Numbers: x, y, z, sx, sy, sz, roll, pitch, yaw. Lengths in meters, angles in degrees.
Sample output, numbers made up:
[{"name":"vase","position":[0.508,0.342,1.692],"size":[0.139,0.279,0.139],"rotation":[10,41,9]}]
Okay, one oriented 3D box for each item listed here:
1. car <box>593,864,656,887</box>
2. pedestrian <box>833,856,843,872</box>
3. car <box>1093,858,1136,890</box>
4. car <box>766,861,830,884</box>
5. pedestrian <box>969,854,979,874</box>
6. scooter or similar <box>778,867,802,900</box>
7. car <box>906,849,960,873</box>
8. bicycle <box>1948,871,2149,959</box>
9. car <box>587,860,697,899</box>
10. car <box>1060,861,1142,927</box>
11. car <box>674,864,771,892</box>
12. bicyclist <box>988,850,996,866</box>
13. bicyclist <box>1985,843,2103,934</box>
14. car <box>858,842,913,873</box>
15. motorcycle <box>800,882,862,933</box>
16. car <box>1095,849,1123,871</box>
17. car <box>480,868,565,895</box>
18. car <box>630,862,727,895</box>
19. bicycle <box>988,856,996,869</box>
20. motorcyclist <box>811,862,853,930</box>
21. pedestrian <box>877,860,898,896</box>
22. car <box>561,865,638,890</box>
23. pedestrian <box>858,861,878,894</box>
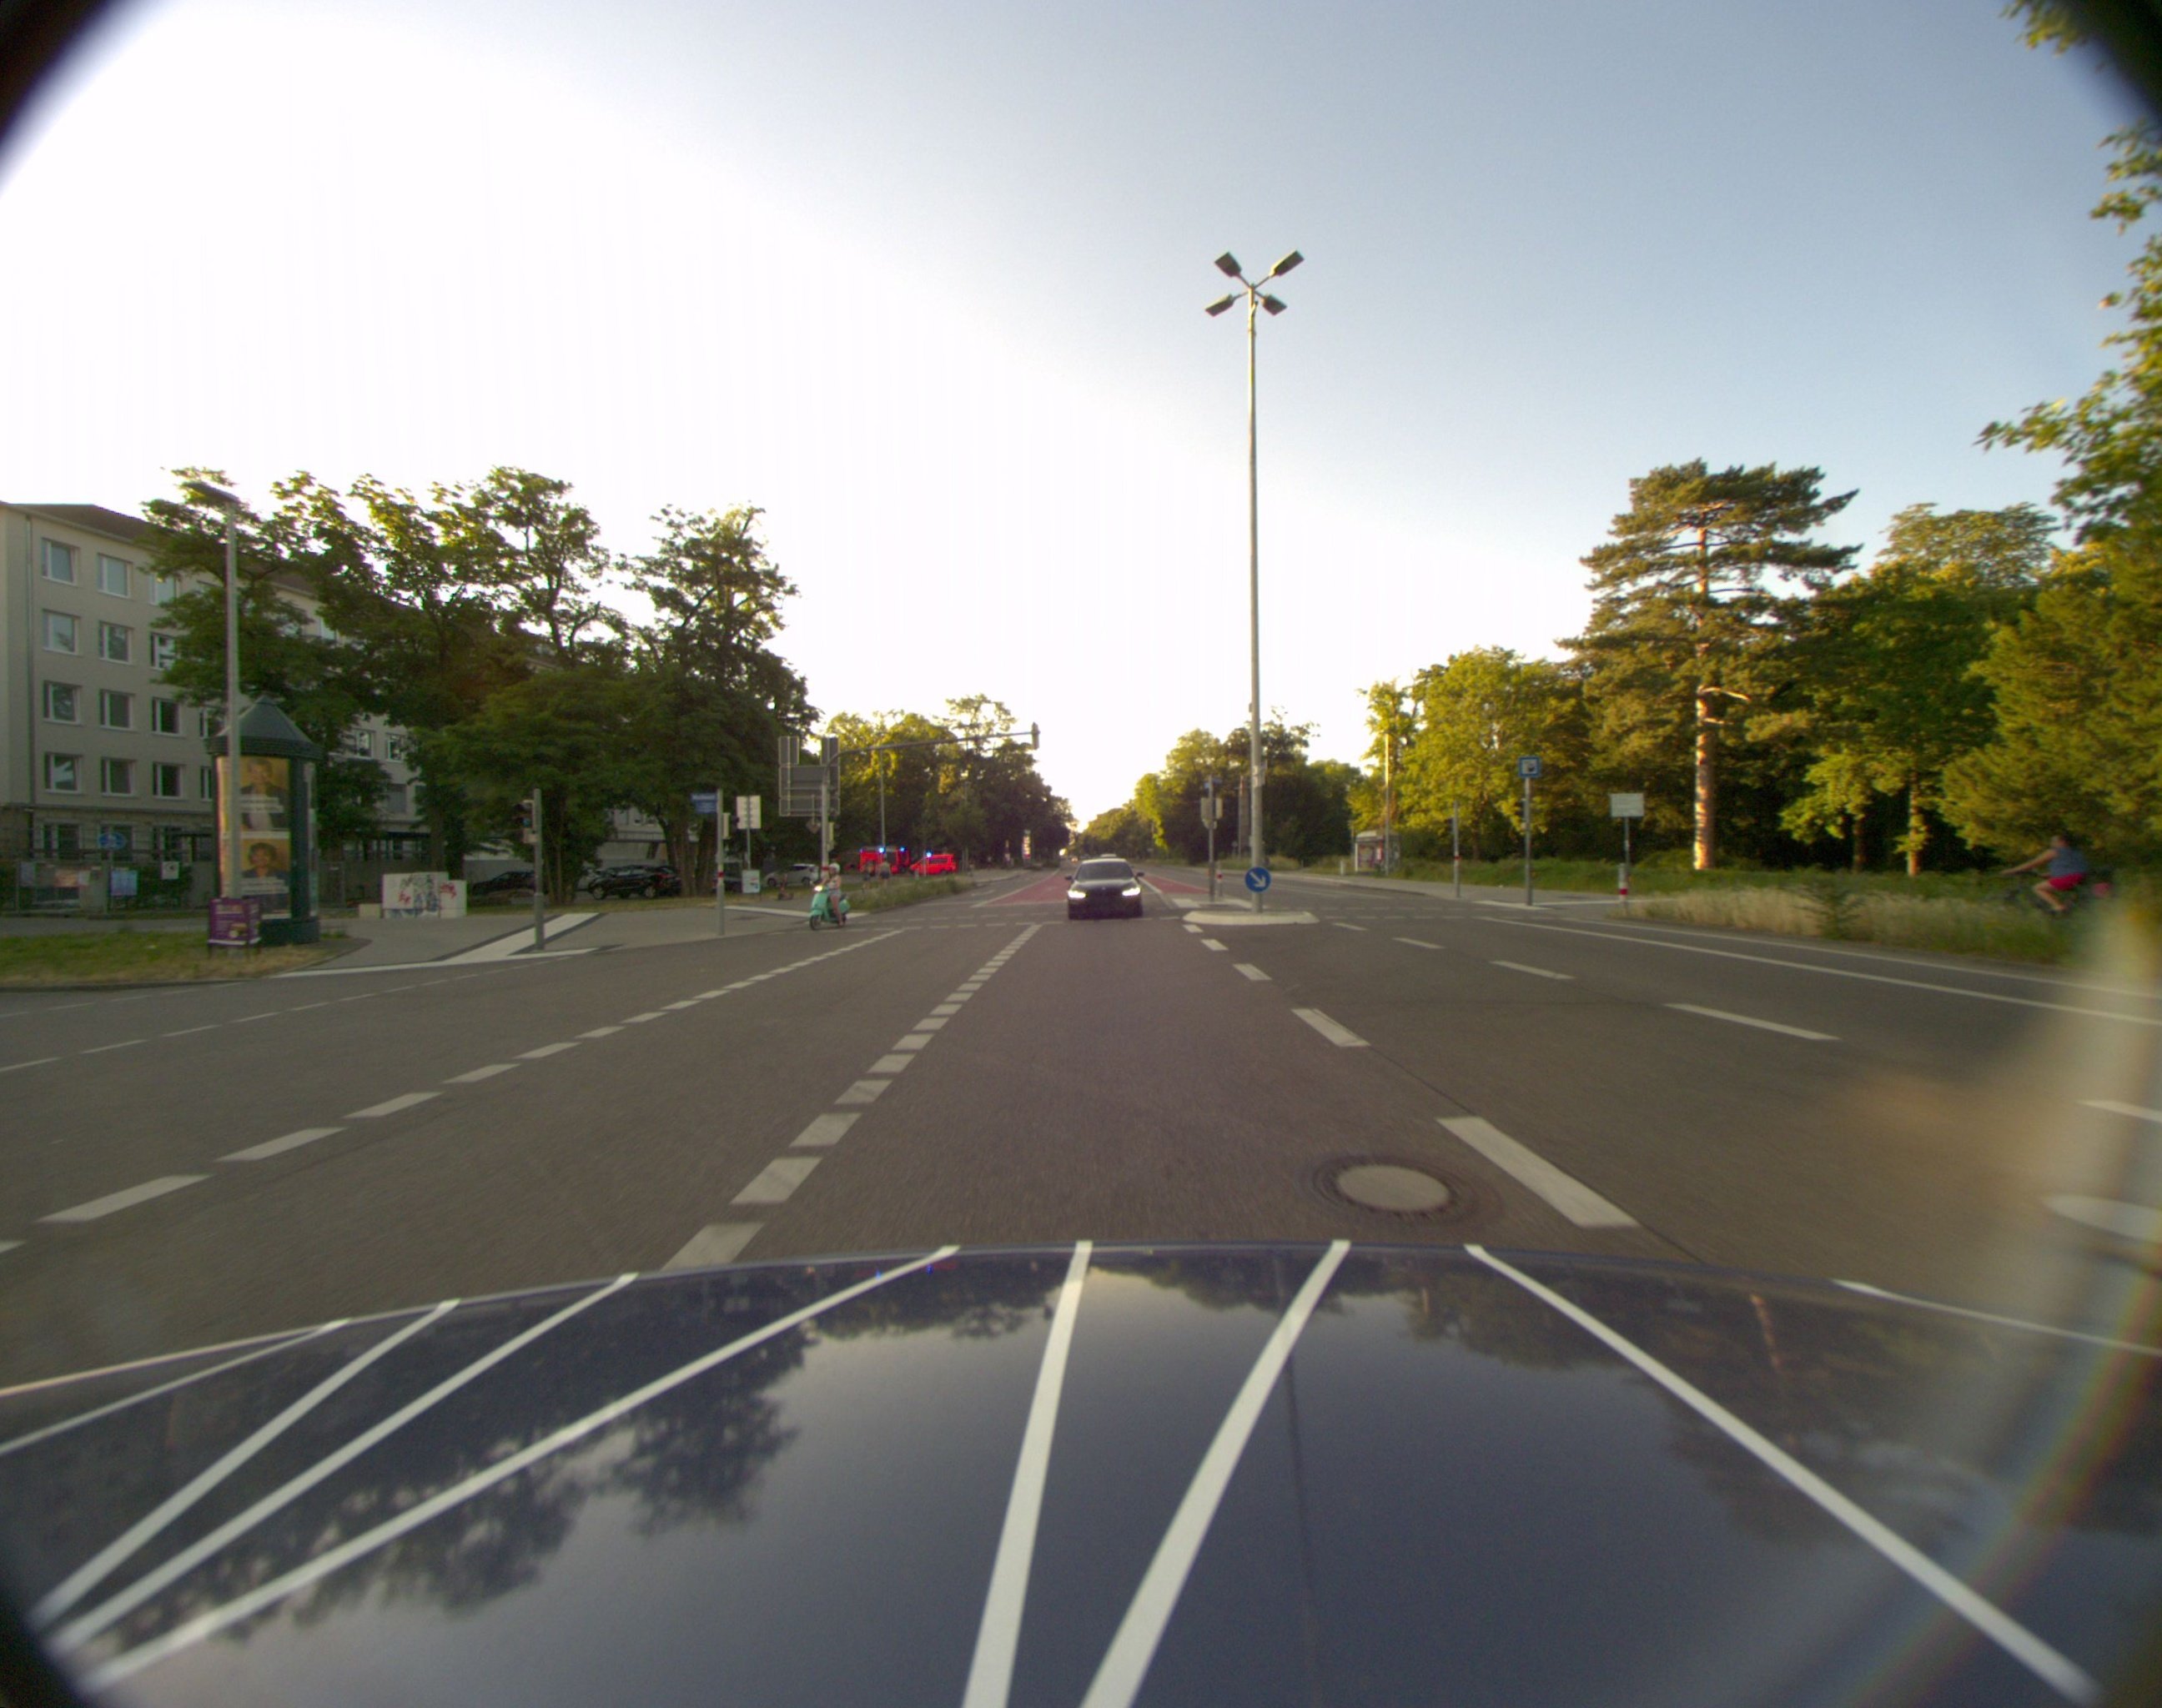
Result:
[{"name":"car","position":[-30.671,1.456,51.104],"size":[3.308,1.451,1.772],"rotation":[-1,0,15]},{"name":"pedestrian","position":[-27.025,1.113,84.498],"size":[0.682,1.831,0.846],"rotation":[-1,0,5]},{"name":"car","position":[1.601,0.961,37.703],"size":[1.850,1.346,4.703],"rotation":[-3,0,0]},{"name":"car","position":[-19.187,1.253,51.542],"size":[3.661,1.451,1.665],"rotation":[-1,0,7]},{"name":"pedestrian","position":[-8.843,0.829,62.645],"size":[0.682,1.613,0.688],"rotation":[-1,0,2]},{"name":"scooter or similar","position":[-11.674,1.183,30.496],"size":[0.441,1.264,1.179],"rotation":[-1,0,2]},{"name":"car","position":[-15.582,0.756,80.294],"size":[5.163,2.379,2.001],"rotation":[-1,1,5]},{"name":"bicycle","position":[15.584,0.930,12.346],"size":[0.791,1.249,1.980],"rotation":[-1,0,2]},{"name":"car","position":[-20.926,1.210,36.294],"size":[4.233,1.730,1.920],"rotation":[-1,0,8]},{"name":"car","position":[0.612,0.931,19.825],"size":[1.817,1.391,5.214],"rotation":[-1,0,4]},{"name":"car","position":[-19.828,1.310,42.134],"size":[4.515,1.455,1.919],"rotation":[-1,0,5]},{"name":"bicyclist","position":[-8.945,0.426,76.179],"size":[0.571,1.623,1.038],"rotation":[-1,1,2]},{"name":"bicyclist","position":[15.575,0.537,12.317],"size":[0.791,1.419,0.892],"rotation":[-1,1,2]},{"name":"car","position":[-21.204,0.343,82.971],"size":[2.769,3.224,8.303],"rotation":[-1,0,9]},{"name":"motorcycle","position":[-6.484,1.372,19.830],"size":[0.683,1.190,1.895],"rotation":[-2,0,10]},{"name":"car","position":[2.126,0.455,58.395],"size":[1.850,1.473,4.703],"rotation":[-3,0,0]},{"name":"car","position":[-31.815,1.563,43.340],"size":[3.624,1.451,1.771],"rotation":[-1,0,4]},{"name":"car","position":[-20.689,1.265,39.125],"size":[3.994,1.601,1.920],"rotation":[-1,0,9]},{"name":"bicycle","position":[-8.933,0.842,76.251],"size":[0.571,1.233,1.899],"rotation":[-1,0,2]},{"name":"motorcyclist","position":[-6.496,1.092,19.833],"size":[0.739,1.727,0.691],"rotation":[-2,0,10]},{"name":"pedestrian","position":[-9.049,1.092,35.562],"size":[0.721,1.650,0.776],"rotation":[-1,1,-1]},{"name":"car","position":[-30.897,1.504,48.780],"size":[3.910,1.513,1.919],"rotation":[-1,0,11]},{"name":"pedestrian","position":[-9.965,1.074,35.520],"size":[0.737,1.514,0.789],"rotation":[-1,1,-3]}]
